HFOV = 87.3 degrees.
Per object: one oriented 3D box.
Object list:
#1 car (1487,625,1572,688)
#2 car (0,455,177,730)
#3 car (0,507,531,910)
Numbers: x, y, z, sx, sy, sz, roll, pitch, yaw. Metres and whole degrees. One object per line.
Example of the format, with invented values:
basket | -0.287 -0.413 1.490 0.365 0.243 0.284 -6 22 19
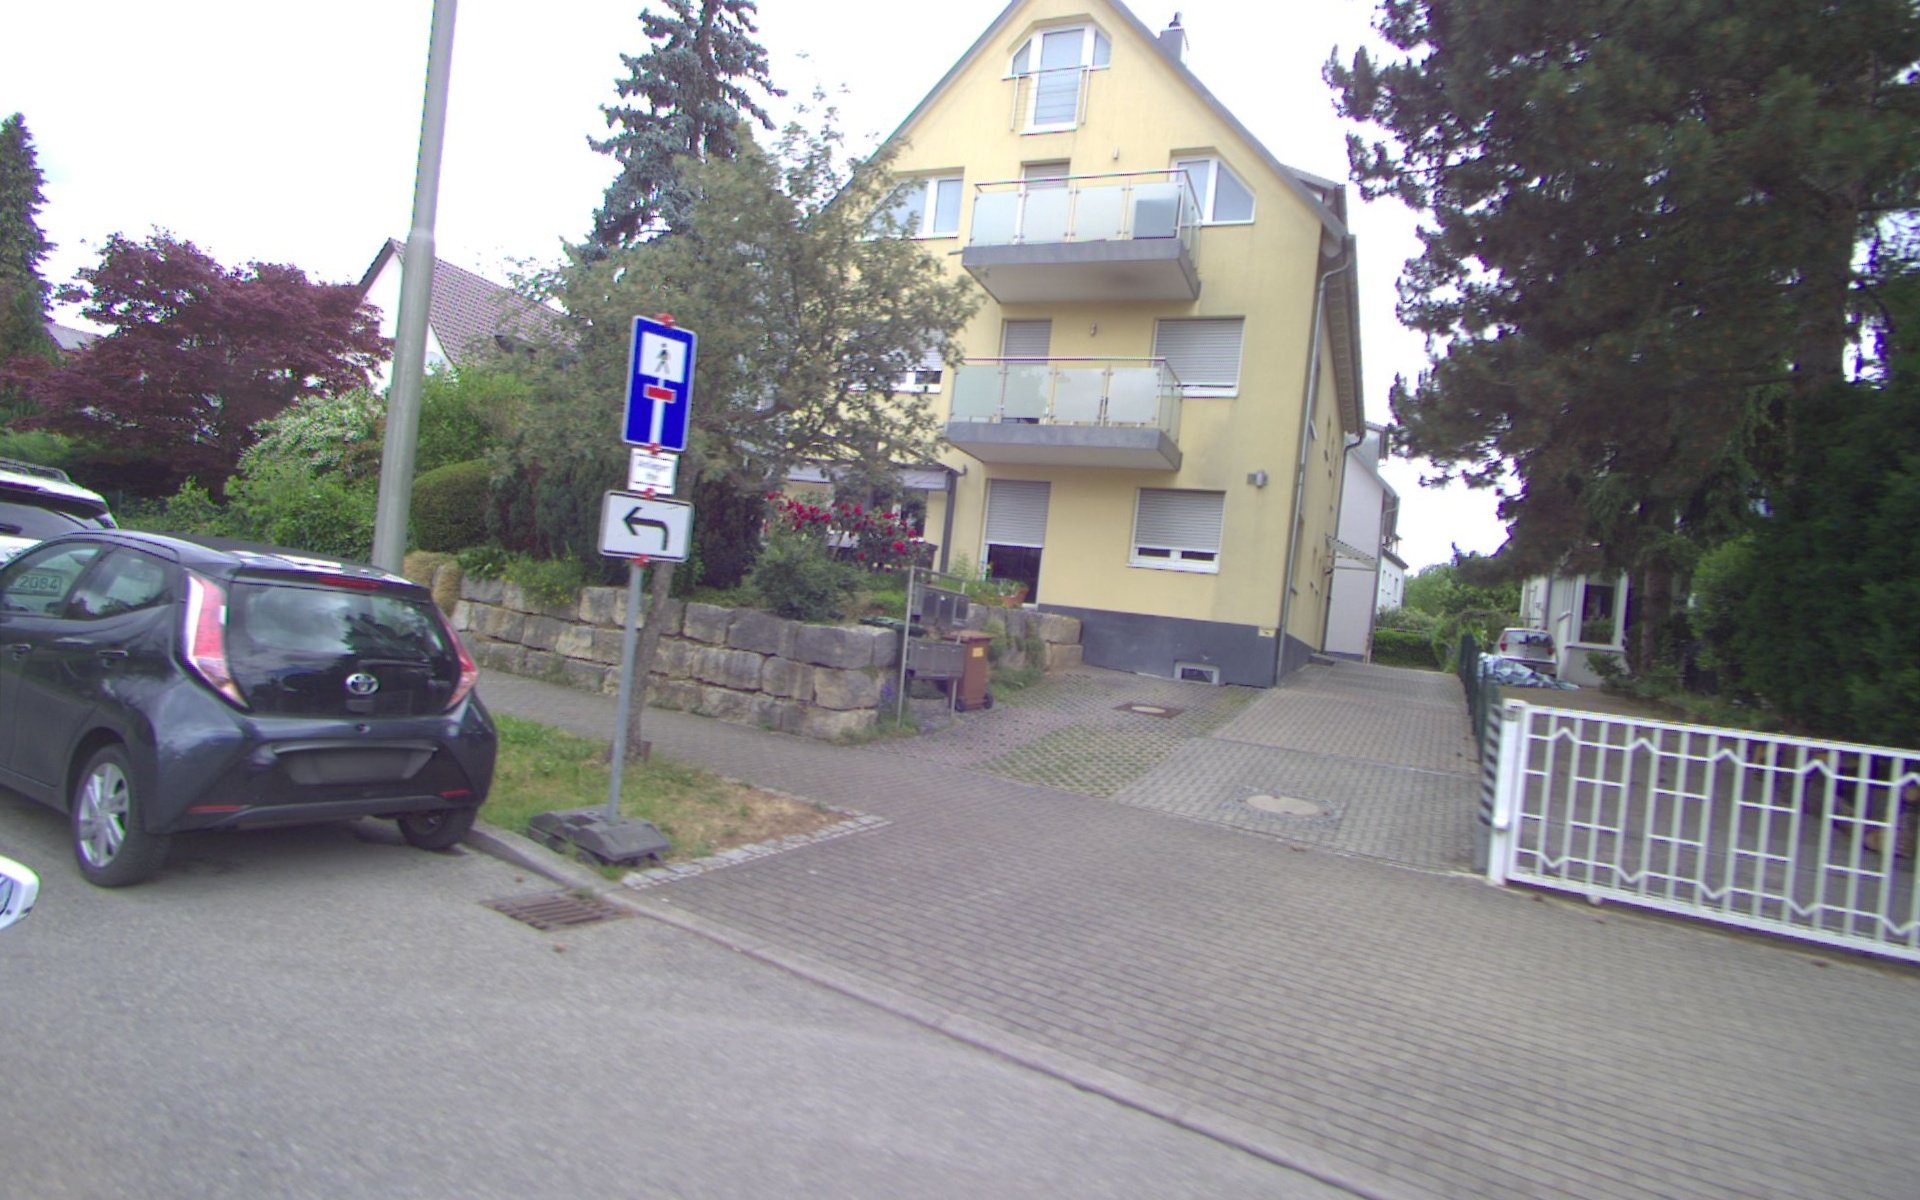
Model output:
car | 16.385 1.643 29.093 1.727 1.485 3.778 7 0 26
car | -8.312 -0.272 7.725 4.624 1.798 1.804 7 -2 29
car | -4.202 0.374 5.399 3.446 1.459 1.562 7 -2 29
